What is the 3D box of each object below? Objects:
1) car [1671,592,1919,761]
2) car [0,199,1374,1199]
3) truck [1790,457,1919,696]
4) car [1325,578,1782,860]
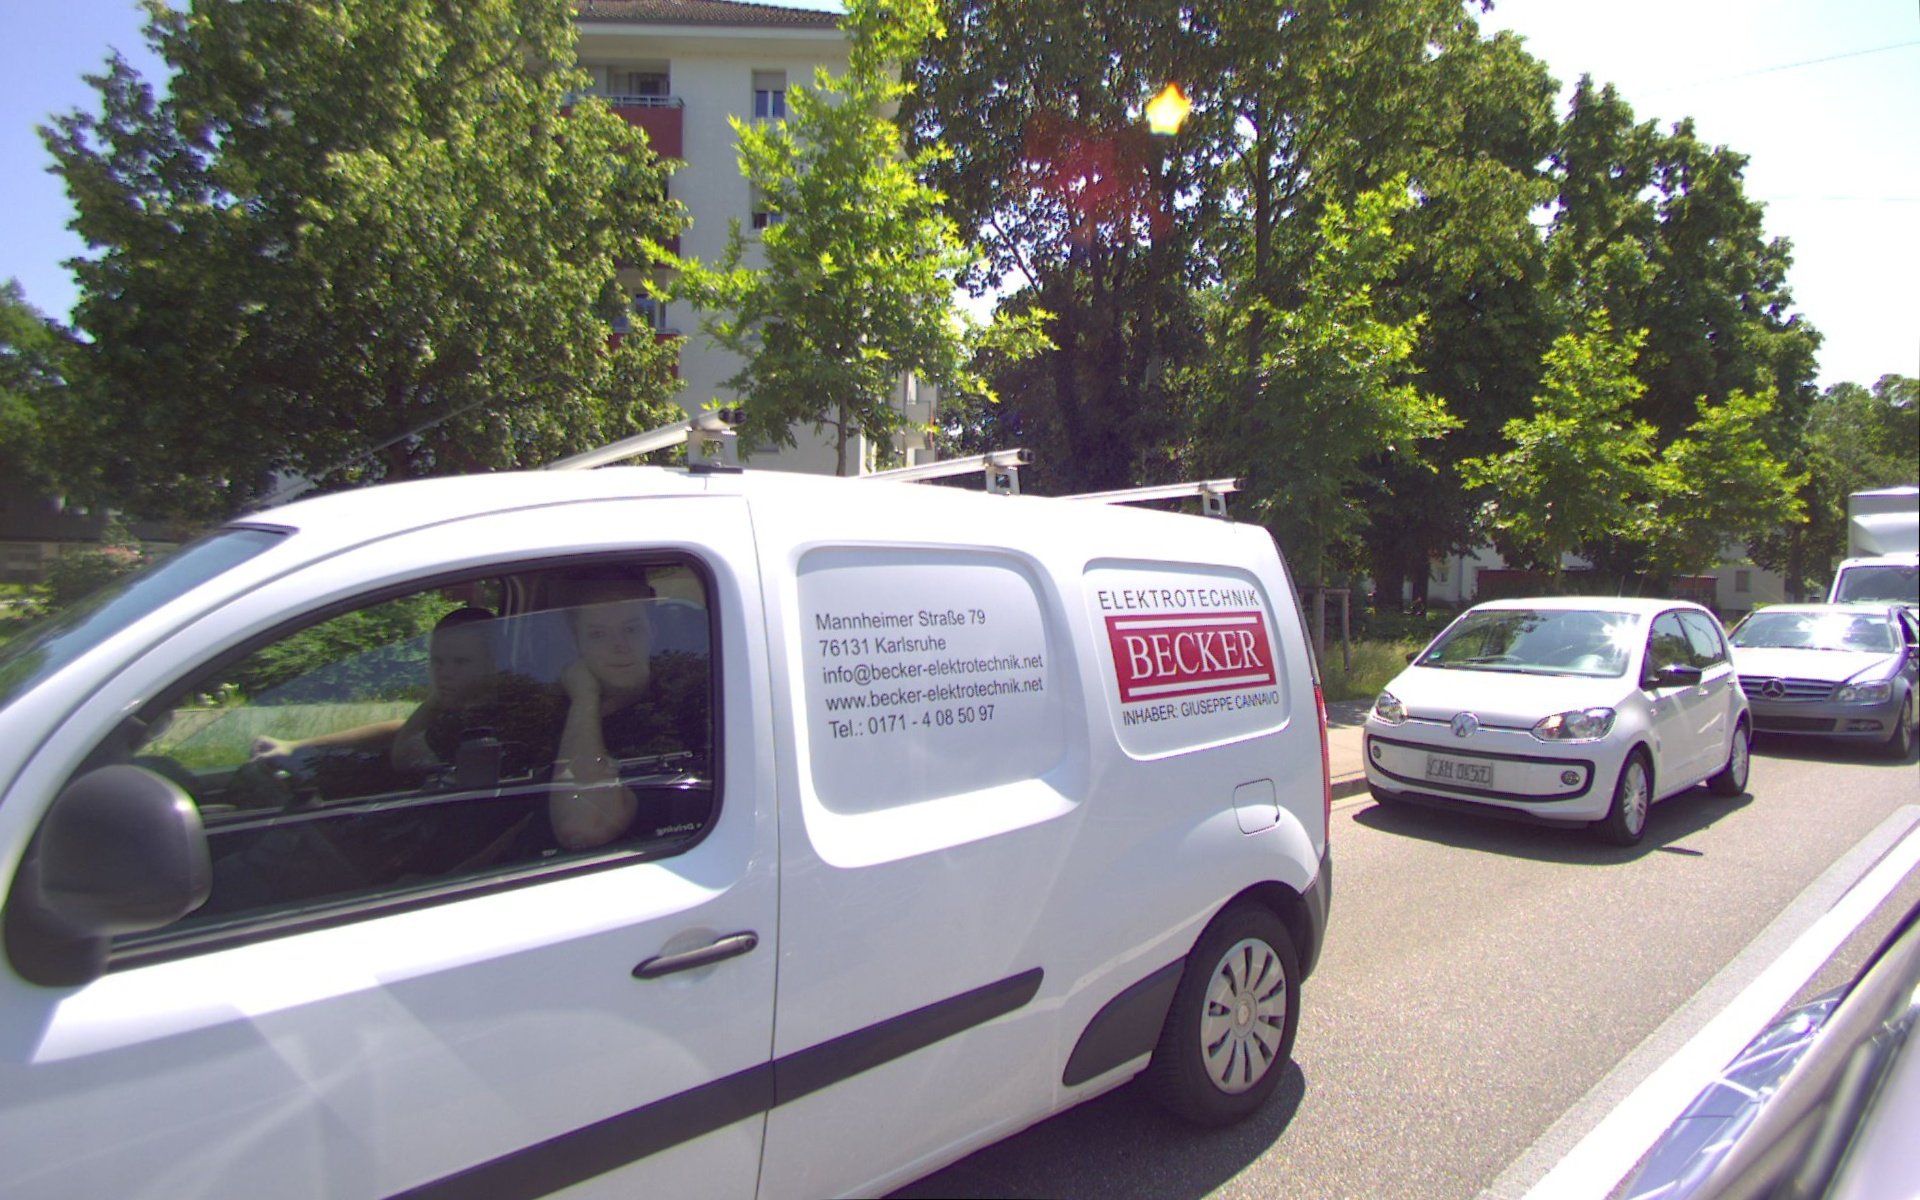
[{"bbox_3d":[9.229,0.650,10.733,4.016,1.426,1.839,0,1,-41],"label":"car"},{"bbox_3d":[-0.997,0.451,2.529,4.370,1.849,1.997,0,1,-41],"label":"car"},{"bbox_3d":[16.513,-0.342,16.967,7.778,3.387,2.434,0,1,-39],"label":"truck"},{"bbox_3d":[4.396,0.618,7.282,3.705,1.497,1.729,0,1,-41],"label":"car"}]
